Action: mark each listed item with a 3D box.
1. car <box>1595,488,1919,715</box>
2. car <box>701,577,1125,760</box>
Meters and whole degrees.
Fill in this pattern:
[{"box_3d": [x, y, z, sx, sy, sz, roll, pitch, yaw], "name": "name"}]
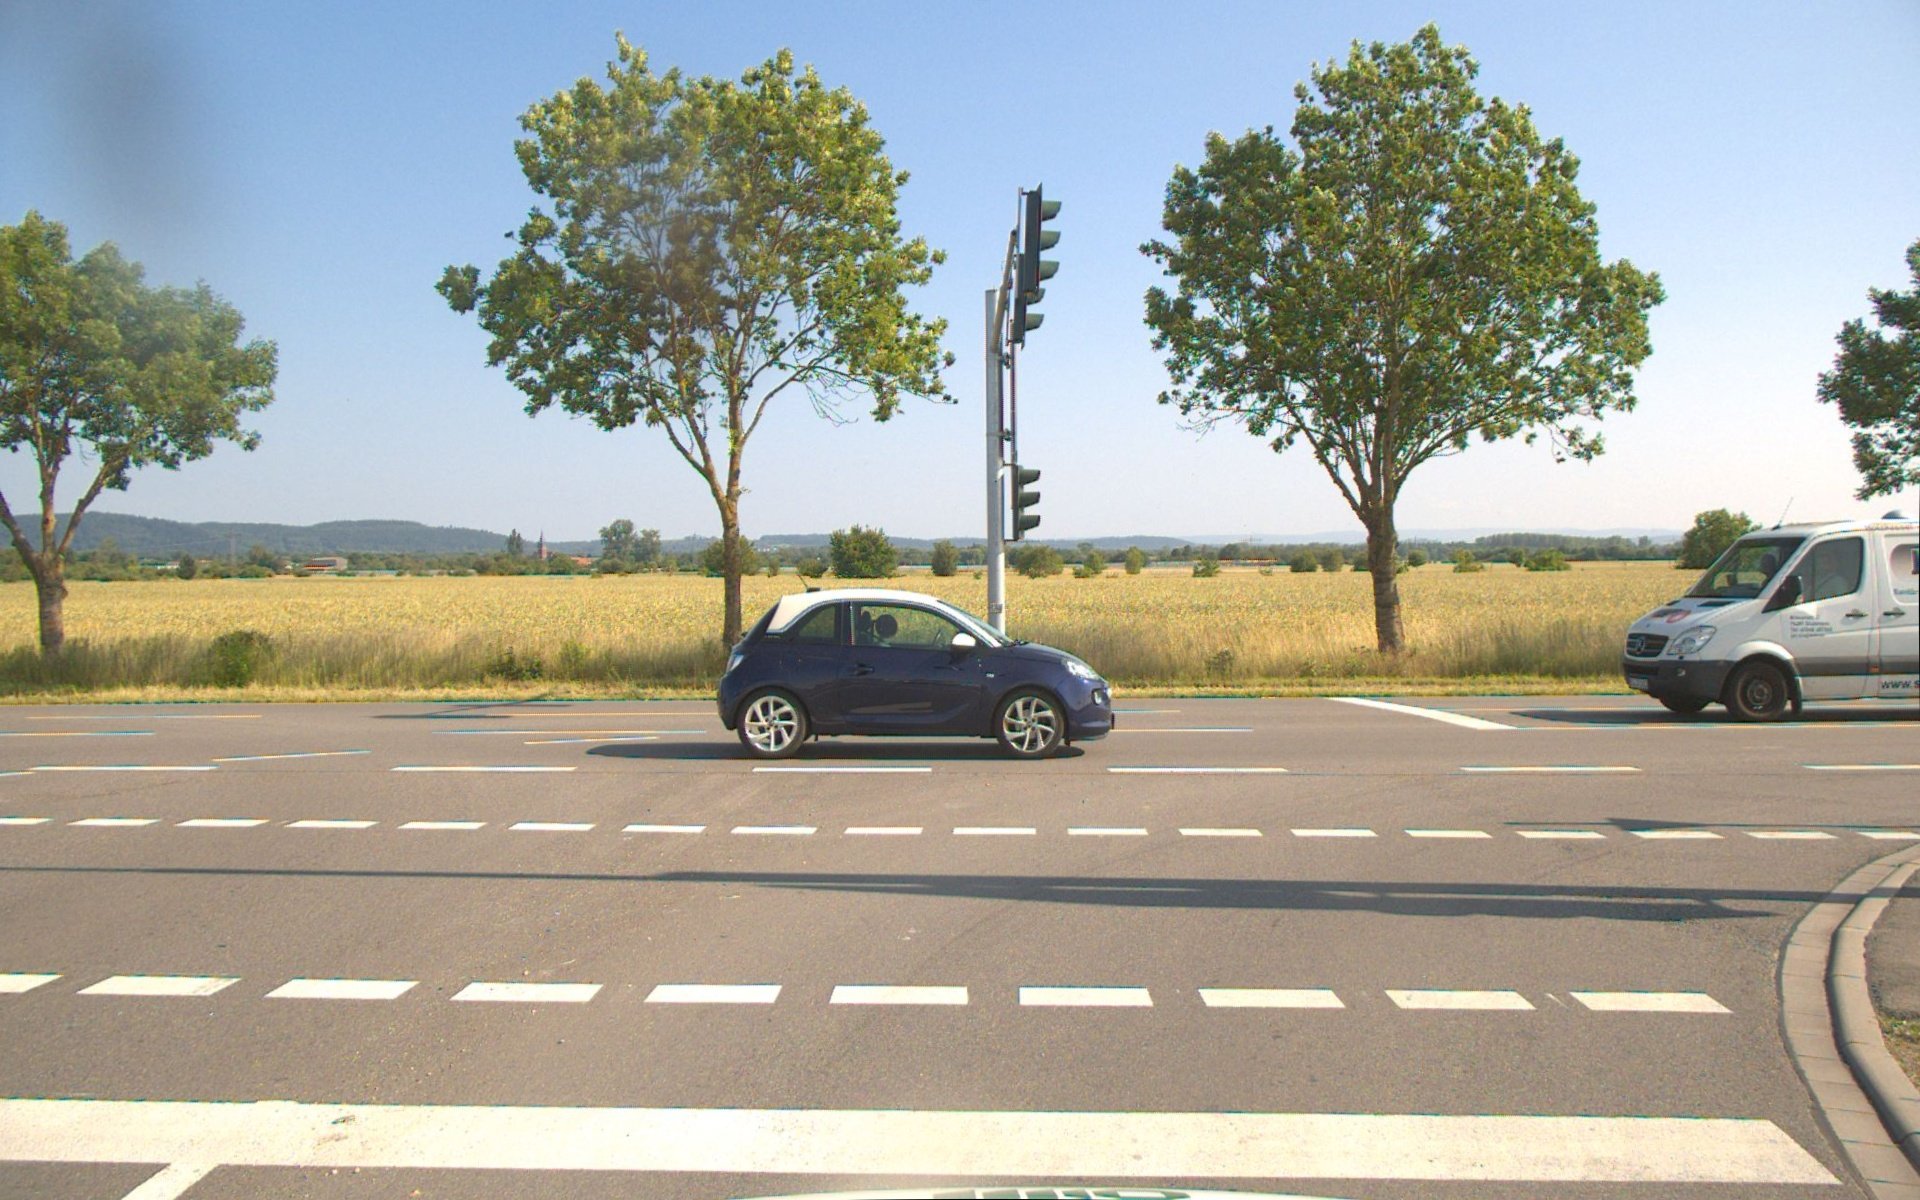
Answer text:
[{"box_3d": [10.823, 0.026, 19.643, 5.838, 2.536, 1.999, 0, 0, -3], "name": "car"}, {"box_3d": [-0.401, 0.581, 15.216, 3.651, 1.482, 1.729, -1, 1, 0], "name": "car"}]
